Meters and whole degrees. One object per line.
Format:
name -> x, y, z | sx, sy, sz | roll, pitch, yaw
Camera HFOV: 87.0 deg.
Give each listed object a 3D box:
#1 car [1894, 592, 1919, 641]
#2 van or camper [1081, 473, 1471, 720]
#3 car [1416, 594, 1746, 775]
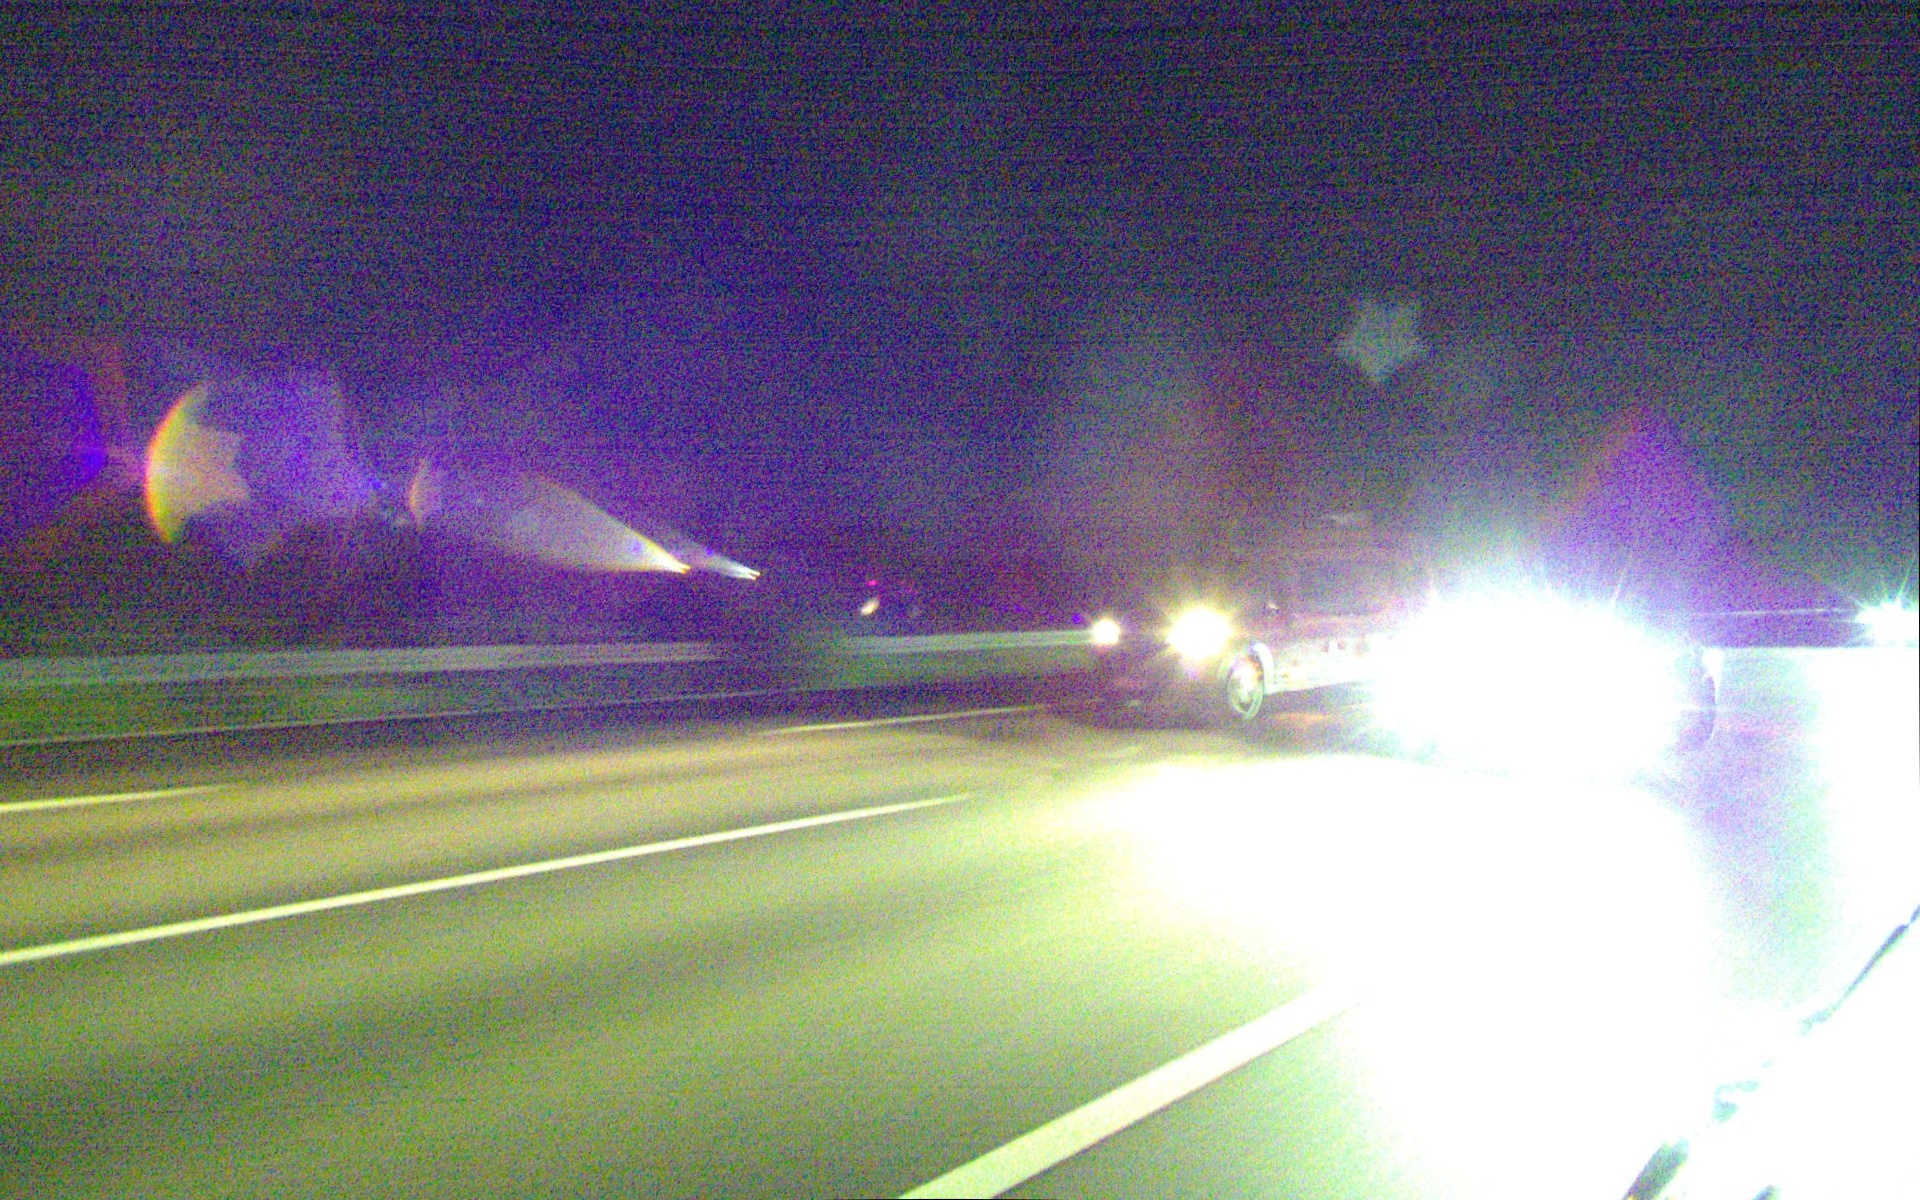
car -> 32.612, 0.531, 33.687 | 4.151, 1.560, 1.793 | 0, 0, -41
van or camper -> 4.810, -0.049, 14.569 | 6.685, 2.807, 2.210 | 0, 0, -41
car -> 6.411, 0.679, 10.265 | 4.151, 1.431, 1.689 | -1, 1, -41
